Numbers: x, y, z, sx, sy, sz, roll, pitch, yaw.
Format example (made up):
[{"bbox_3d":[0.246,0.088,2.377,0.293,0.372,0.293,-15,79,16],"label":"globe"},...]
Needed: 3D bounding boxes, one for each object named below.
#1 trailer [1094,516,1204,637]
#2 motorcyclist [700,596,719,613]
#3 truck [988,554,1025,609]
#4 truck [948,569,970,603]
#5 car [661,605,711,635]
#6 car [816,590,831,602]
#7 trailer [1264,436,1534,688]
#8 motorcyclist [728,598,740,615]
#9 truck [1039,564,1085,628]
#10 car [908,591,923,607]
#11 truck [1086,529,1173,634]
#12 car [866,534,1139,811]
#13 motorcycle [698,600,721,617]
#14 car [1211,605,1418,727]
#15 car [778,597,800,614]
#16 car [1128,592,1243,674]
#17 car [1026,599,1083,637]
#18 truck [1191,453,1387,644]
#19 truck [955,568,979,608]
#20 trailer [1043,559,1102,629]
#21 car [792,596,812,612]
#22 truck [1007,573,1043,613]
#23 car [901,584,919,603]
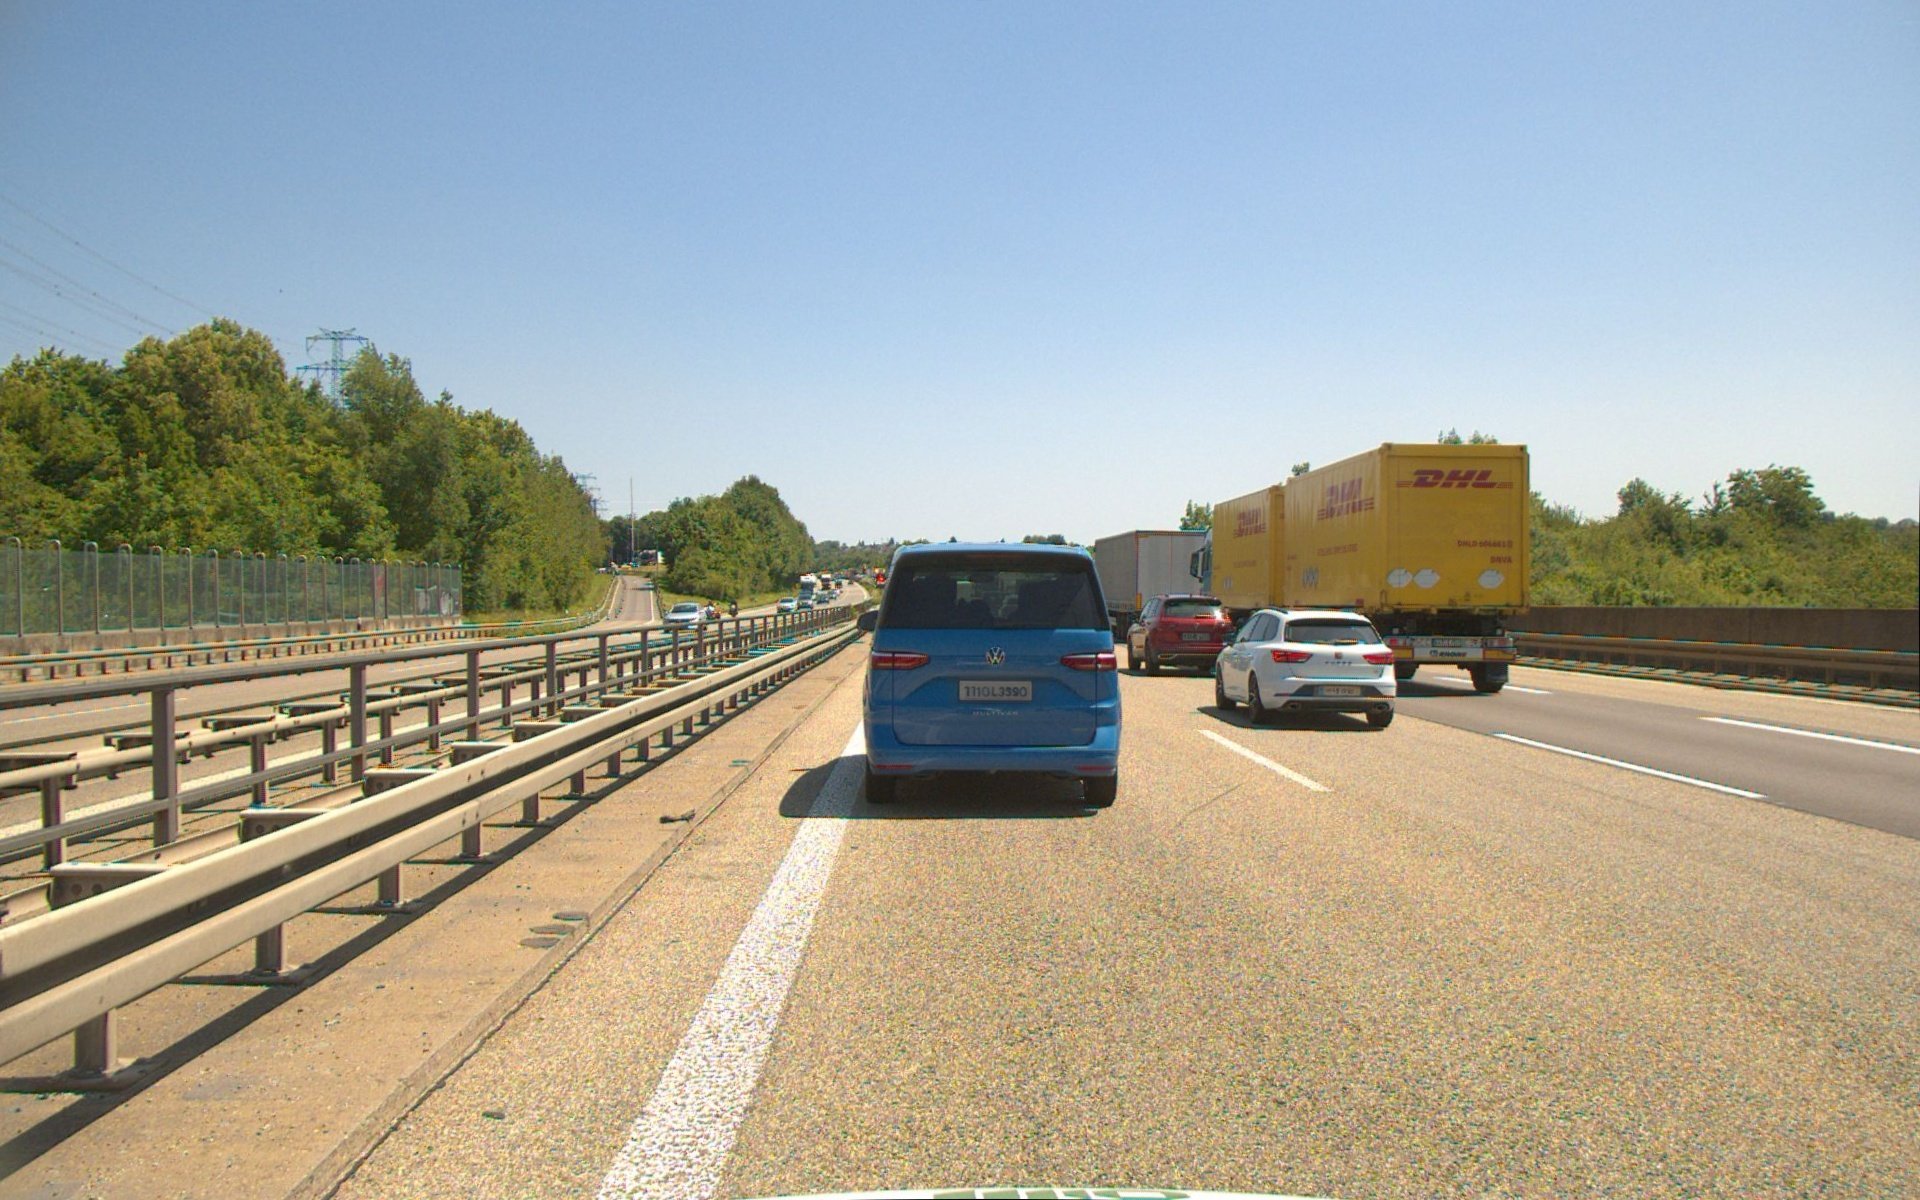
[{"bbox_3d":[7.143,-0.772,64.065,2.699,4.219,11.308,1,-1,-1],"label":"trailer"},{"bbox_3d":[-18.825,0.331,124.339,1.162,1.278,1.118,-3,0,-2],"label":"motorcyclist"},{"bbox_3d":[4.498,-1.677,161.860,2.777,5.128,11.140,1,-1,-2],"label":"truck"},{"bbox_3d":[-0.199,-2.124,260.422,2.777,5.128,12.906,-1,0,-2],"label":"truck"},{"bbox_3d":[-13.815,0.988,83.561,1.872,1.418,4.164,-2,0,-1],"label":"car"},{"bbox_3d":[-19.263,-0.560,232.757,1.793,1.637,4.167,-3,0,-2],"label":"car"},{"bbox_3d":[8.035,-0.593,31.618,2.646,4.094,8.928,1,-1,-1],"label":"trailer"},{"bbox_3d":[-20.071,0.570,146.732,0.880,1.466,1.082,-1,1,-2],"label":"motorcyclist"},{"bbox_3d":[6.264,-0.213,102.193,2.320,3.787,6.031,1,-1,-2],"label":"truck"},{"bbox_3d":[-5.970,-0.116,220.848,1.953,2.049,3.999,1,-1,-1],"label":"car"},{"bbox_3d":[7.053,-0.731,69.769,2.712,4.167,6.981,1,-1,-2],"label":"truck"},{"bbox_3d":[0.260,0.491,13.225,1.844,1.869,3.999,0,0,-1],"label":"car"},{"bbox_3d":[-18.826,0.629,124.570,1.338,1.118,2.575,-3,0,-1],"label":"motorcycle"},{"bbox_3d":[4.499,0.785,21.588,1.745,1.411,4.187,0,0,-1],"label":"car"},{"bbox_3d":[-16.162,0.536,156.220,1.681,1.459,4.174,-3,0,-1],"label":"car"},{"bbox_3d":[4.674,0.649,34.789,1.813,1.636,3.999,0,0,-1],"label":"car"},{"bbox_3d":[3.602,0.668,63.690,1.801,1.438,3.998,0,0,-3],"label":"car"},{"bbox_3d":[7.915,-1.077,41.275,2.667,4.125,10.334,1,-1,-1],"label":"truck"},{"bbox_3d":[0.940,-1.663,236.683,2.777,5.467,12.548,1,-1,-2],"label":"truck"},{"bbox_3d":[6.446,-0.266,96.347,2.331,3.809,11.184,1,-1,-1],"label":"trailer"},{"bbox_3d":[-17.630,0.461,184.687,1.793,1.637,4.167,-3,0,-2],"label":"car"},{"bbox_3d":[5.573,-0.547,142.782,2.308,3.275,9.735,1,-1,-2],"label":"truck"},{"bbox_3d":[-5.593,-0.697,186.218,1.953,2.049,3.999,1,-1,-1],"label":"car"}]
